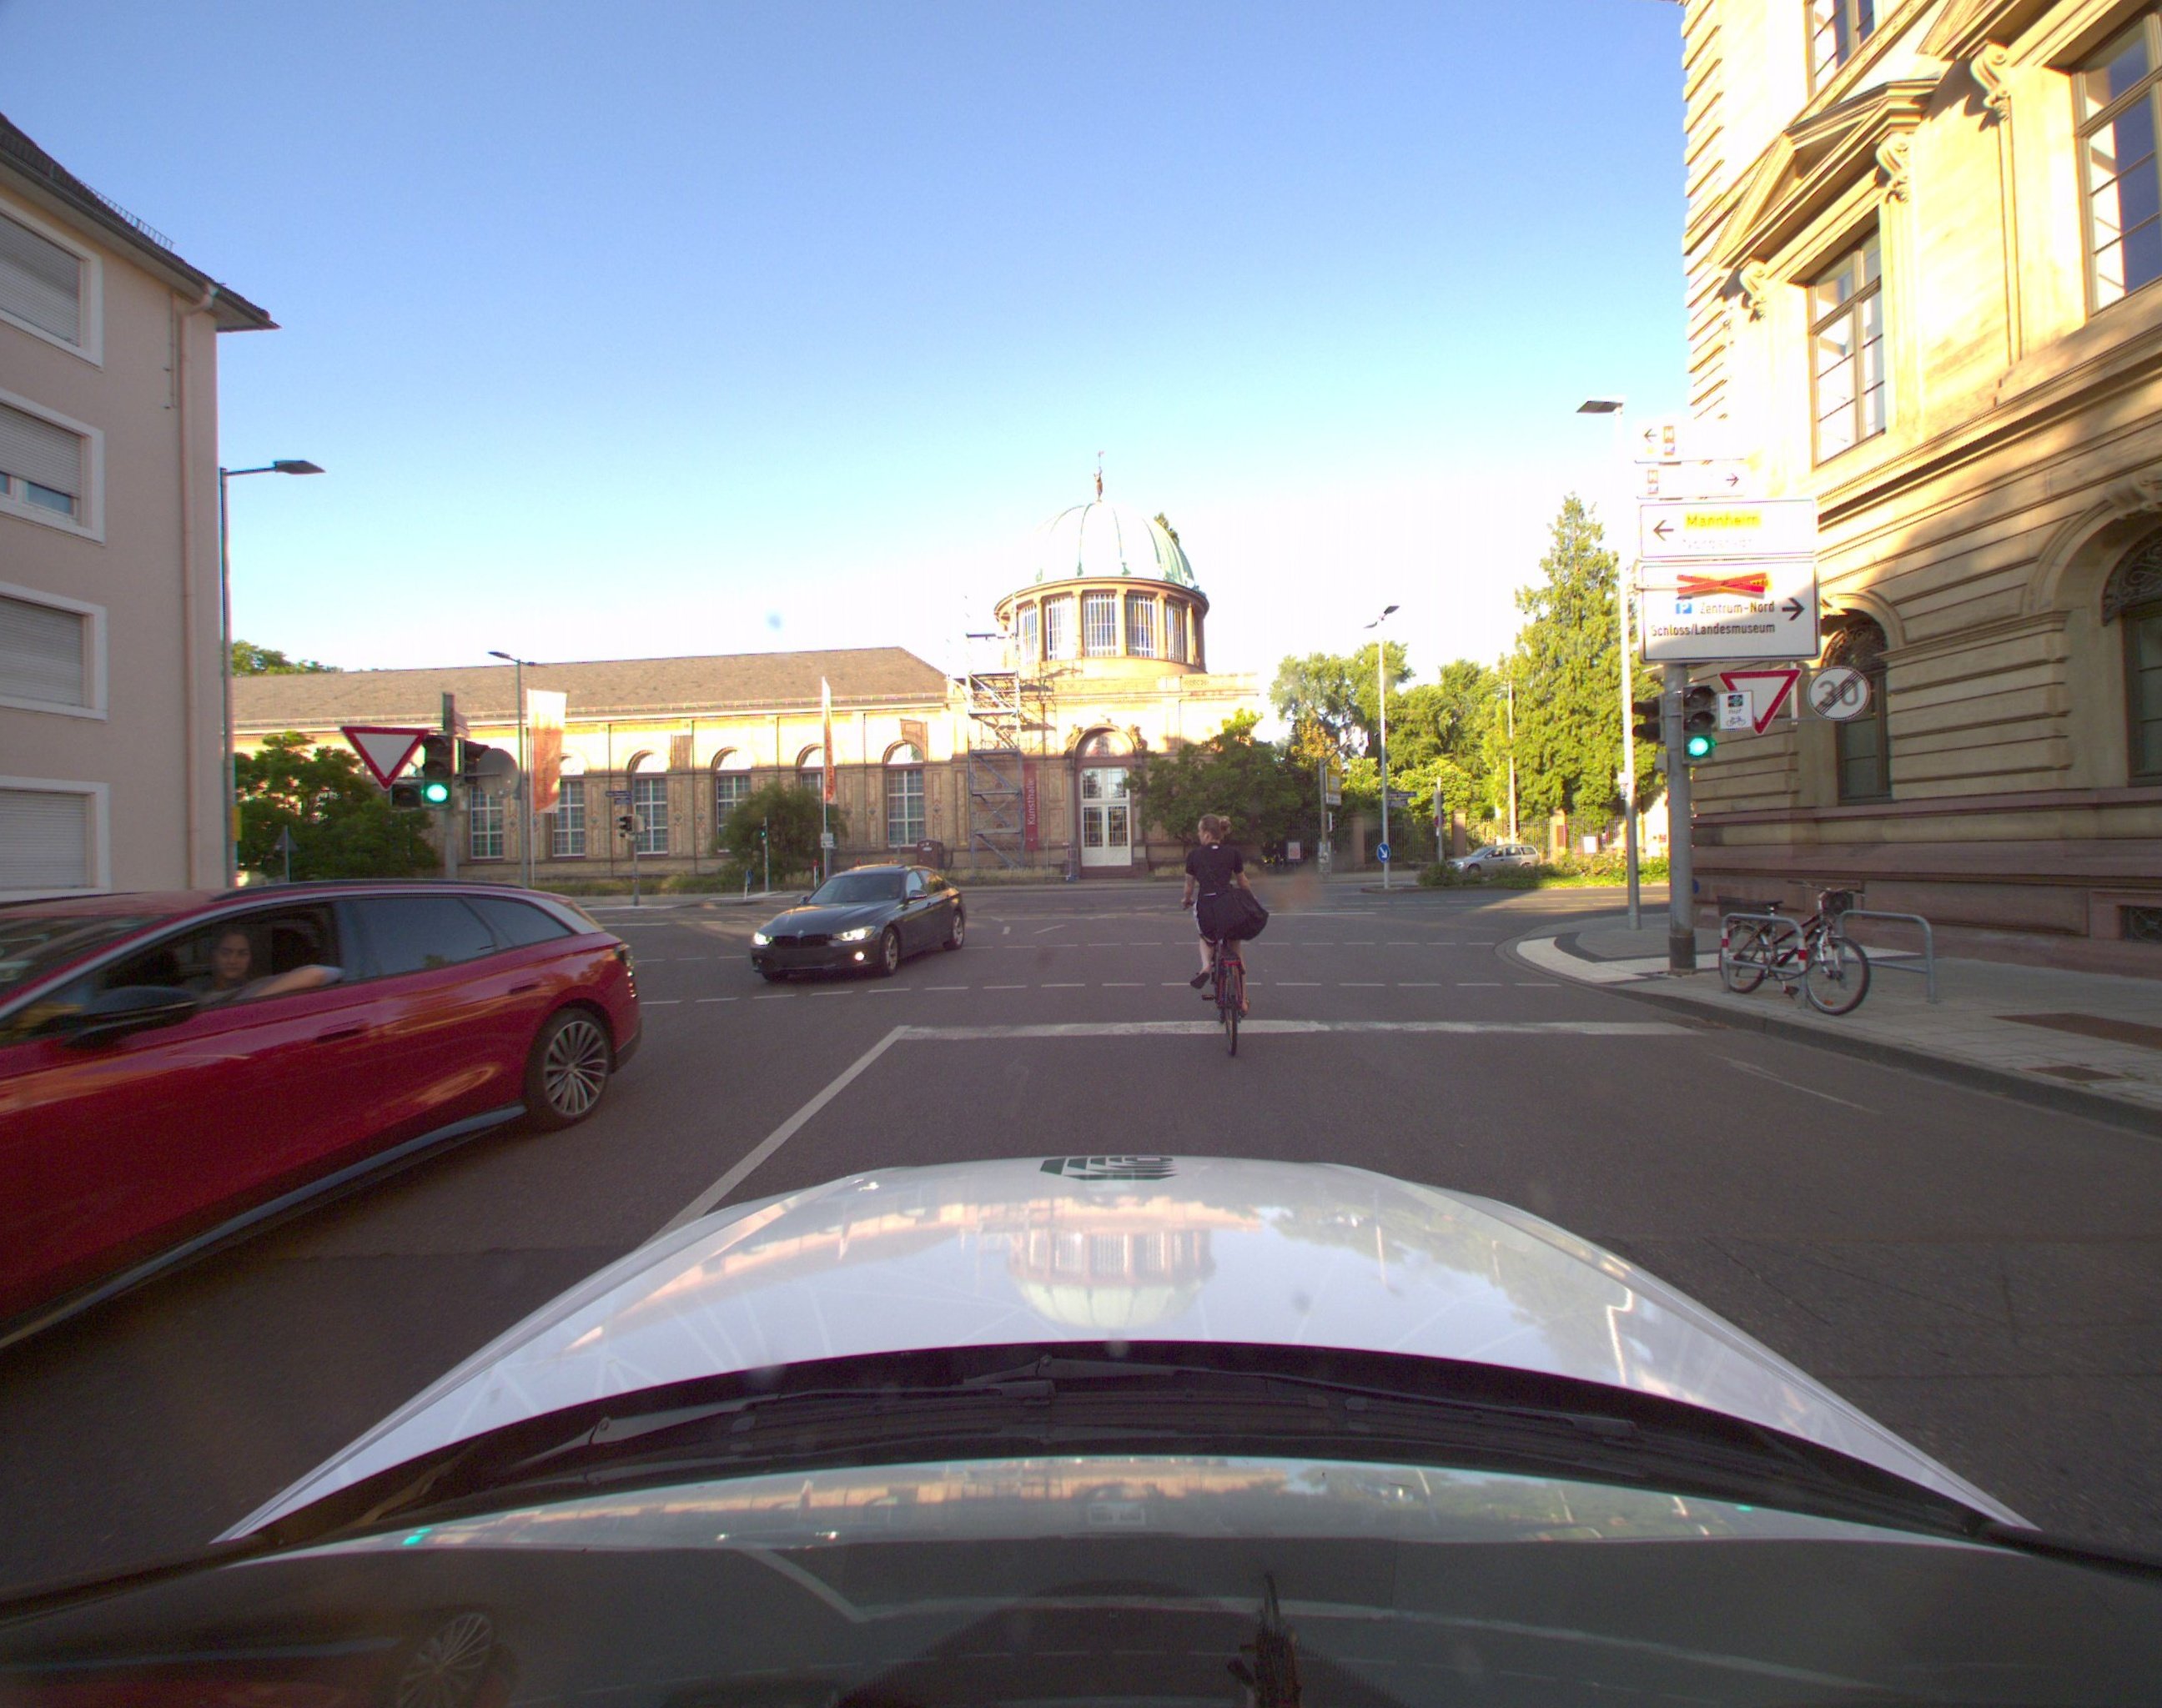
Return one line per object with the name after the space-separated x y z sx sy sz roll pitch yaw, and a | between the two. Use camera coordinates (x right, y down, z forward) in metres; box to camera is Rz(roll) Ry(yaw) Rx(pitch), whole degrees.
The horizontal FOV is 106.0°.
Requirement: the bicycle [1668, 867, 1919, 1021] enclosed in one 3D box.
6.248 0.726 7.316 0.580 1.188 1.921 -2 -2 2 | bicycle

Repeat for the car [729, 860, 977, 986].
-3.105 0.880 12.194 1.771 1.459 4.435 -2 0 10 | car

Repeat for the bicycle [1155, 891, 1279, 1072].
1.162 0.910 6.560 0.706 1.156 2.077 -2 -2 16 | bicycle

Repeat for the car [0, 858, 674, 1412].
-4.009 0.863 3.555 1.824 1.545 4.850 -3 0 2 | car

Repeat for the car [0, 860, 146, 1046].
-11.839 0.883 7.384 4.426 1.641 1.942 0 0 0 | car

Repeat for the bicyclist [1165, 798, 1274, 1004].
1.119 0.362 6.458 0.710 1.502 0.854 -2 -2 16 | bicyclist

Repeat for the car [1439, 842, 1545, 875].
19.455 0.202 38.641 4.176 1.445 1.713 -2 0 -4 | car
